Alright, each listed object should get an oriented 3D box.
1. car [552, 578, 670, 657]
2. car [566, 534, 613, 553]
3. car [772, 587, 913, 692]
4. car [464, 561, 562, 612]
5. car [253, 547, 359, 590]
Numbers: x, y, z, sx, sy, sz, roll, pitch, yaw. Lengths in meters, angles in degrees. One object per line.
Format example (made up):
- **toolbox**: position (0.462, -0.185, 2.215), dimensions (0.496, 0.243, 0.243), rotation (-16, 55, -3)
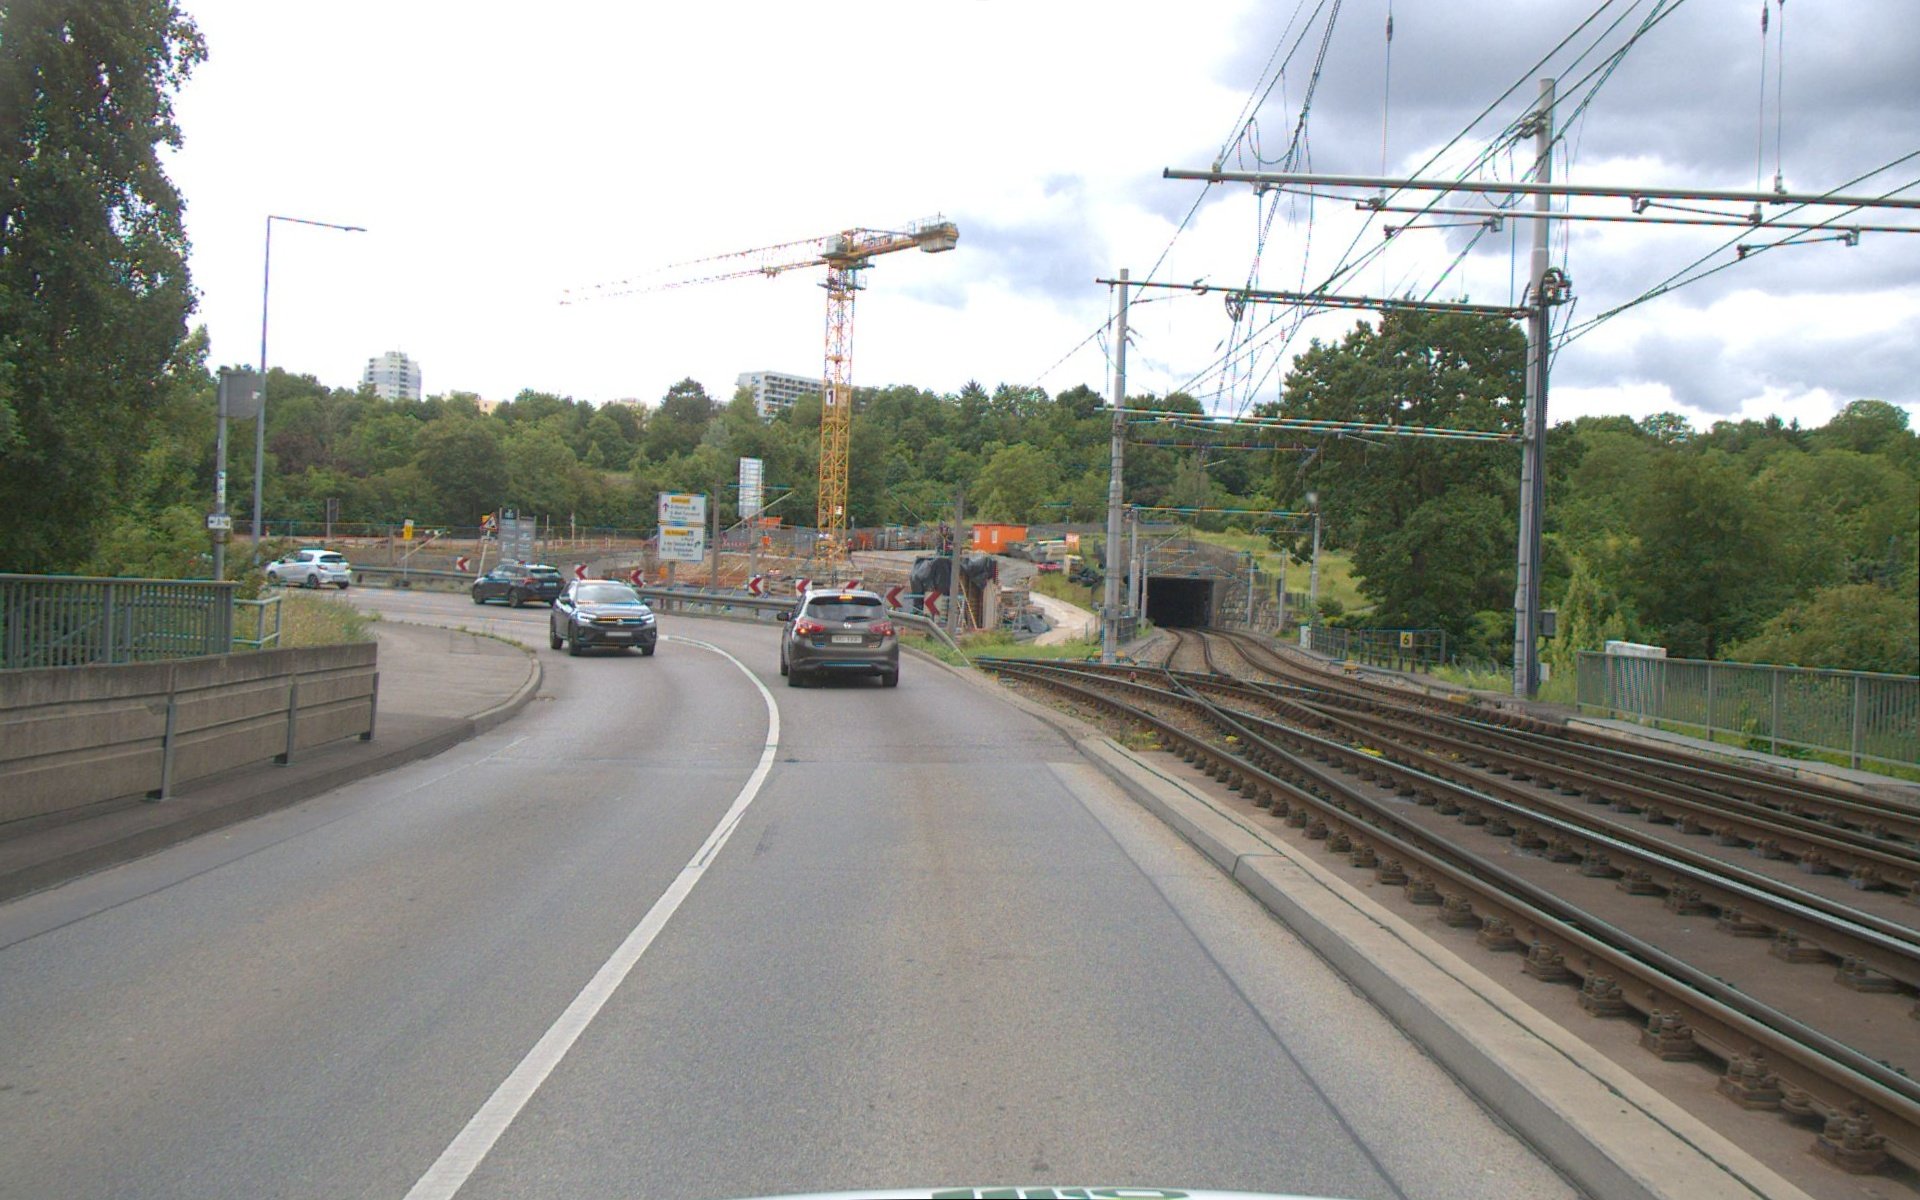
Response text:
- **car**: position (-7.442, 0.332, 35.001), dimensions (1.804, 1.536, 3.974), rotation (0, 1, -22)
- **car**: position (-33.795, -5.171, 150.832), dimensions (3.909, 1.434, 1.798), rotation (3, 0, 26)
- **car**: position (-2.015, 0.596, 27.364), dimensions (1.797, 1.536, 3.989), rotation (1, 1, -12)
- **car**: position (-15.541, -0.479, 57.413), dimensions (1.669, 1.634, 4.248), rotation (0, 2, -39)
- **car**: position (-26.483, -1.268, 66.941), dimensions (4.215, 1.634, 1.682), rotation (2, 1, 29)
